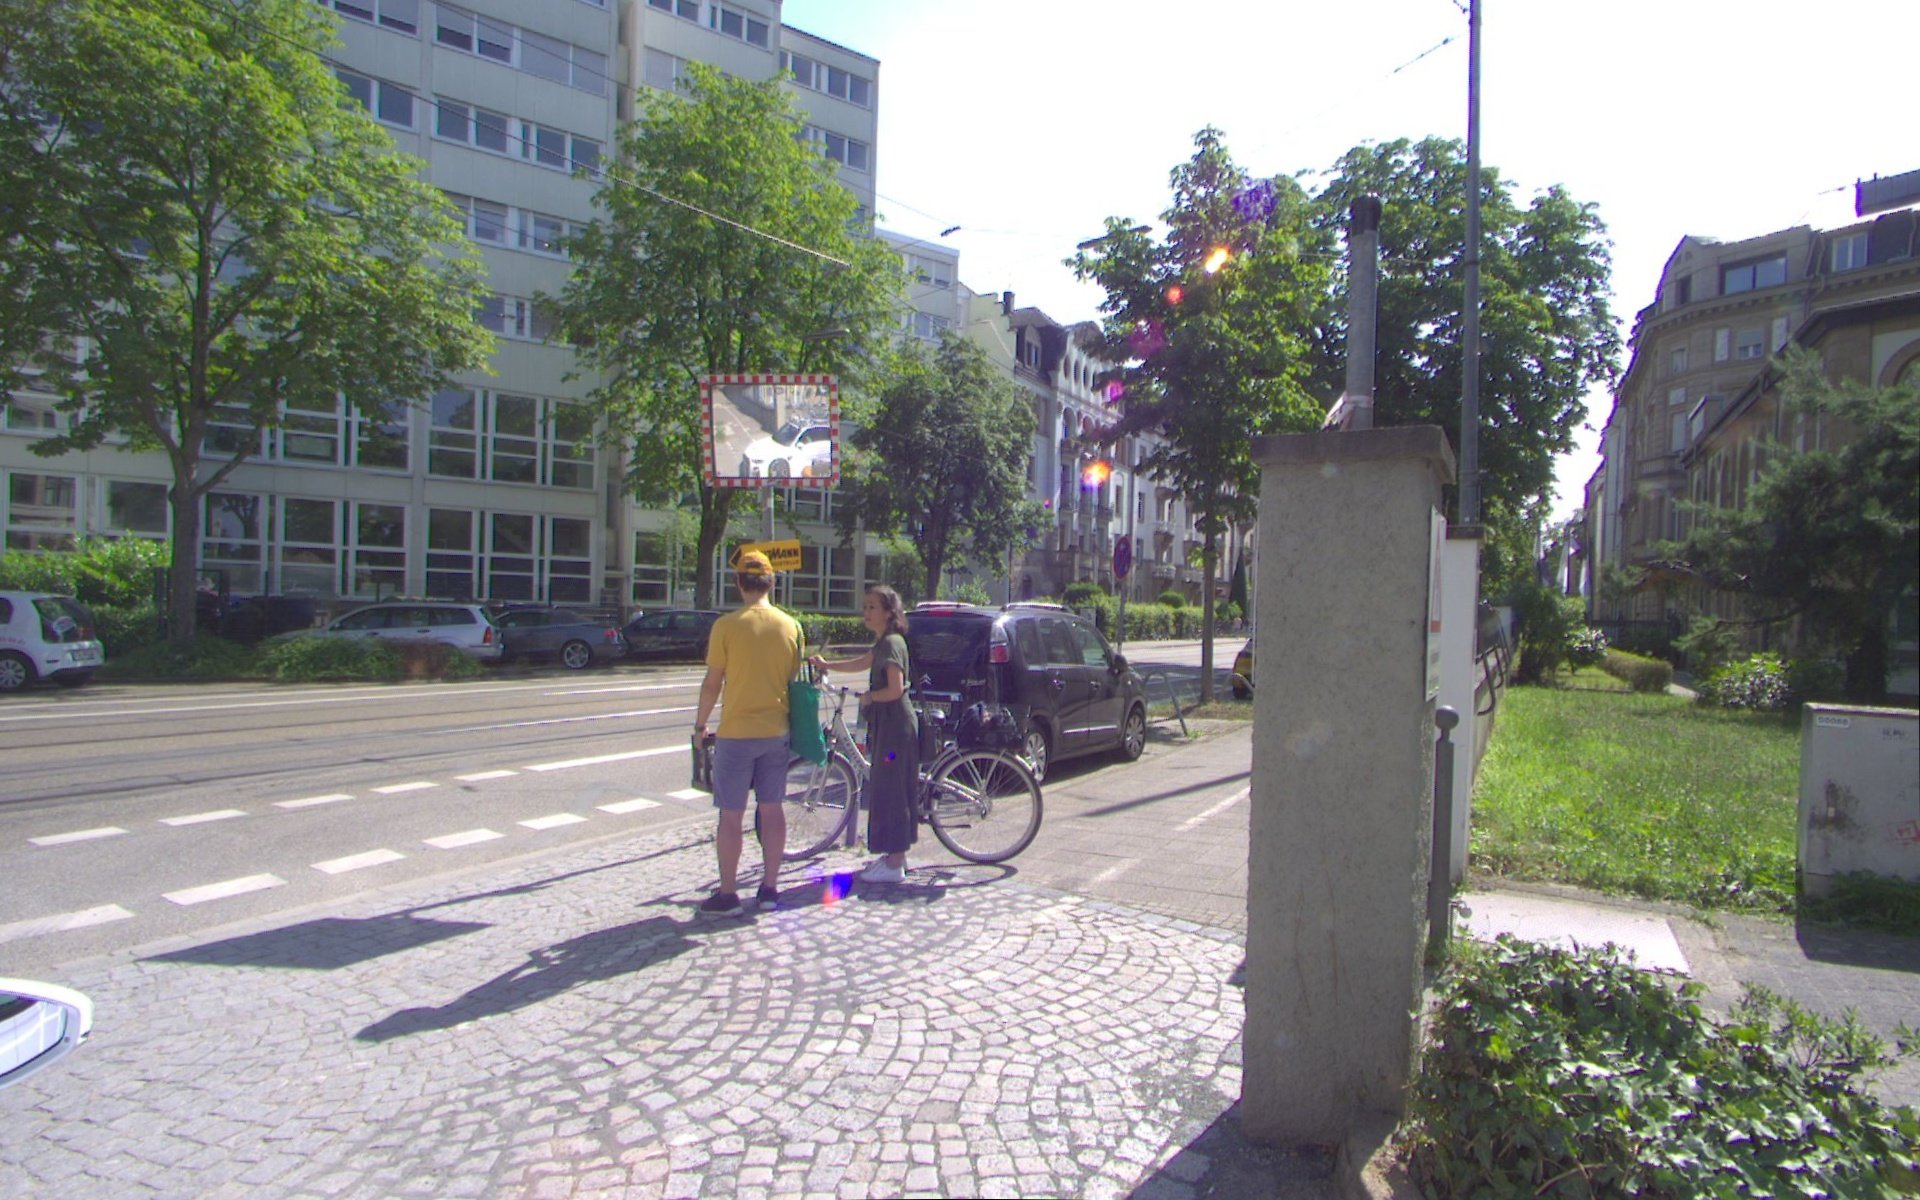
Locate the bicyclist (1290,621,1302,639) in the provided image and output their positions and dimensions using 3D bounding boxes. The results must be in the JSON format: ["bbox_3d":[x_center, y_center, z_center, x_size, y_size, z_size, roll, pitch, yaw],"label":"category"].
[{"bbox_3d":[30.891,2.767,92.062,0.793,1.563,0.860,2,0,33],"label":"bicyclist"}]

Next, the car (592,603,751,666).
[{"bbox_3d":[-7.564,0.907,26.444,3.875,1.505,1.556,2,0,-16],"label":"car"}]

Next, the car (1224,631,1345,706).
[{"bbox_3d":[7.219,1.422,22.024,1.828,1.430,3.985,1,-1,28],"label":"car"}]

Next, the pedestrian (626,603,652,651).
[{"bbox_3d":[-10.087,0.854,31.476,0.417,1.480,0.620,2,0,27],"label":"pedestrian"}]

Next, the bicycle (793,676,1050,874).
[{"bbox_3d":[-0.230,1.027,6.066,1.484,1.055,0.363,1,0,12],"label":"bicycle"}]

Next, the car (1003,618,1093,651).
[{"bbox_3d":[4.320,1.691,49.195,3.929,1.527,1.997,2,-1,-16],"label":"car"}]

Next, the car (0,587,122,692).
[{"bbox_3d":[-15.163,0.550,14.840,3.874,1.505,1.611,1,0,-15],"label":"car"}]

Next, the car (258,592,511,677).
[{"bbox_3d":[-11.741,0.736,20.739,4.270,1.625,1.555,2,-1,-19],"label":"car"}]

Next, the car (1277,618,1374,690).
[{"bbox_3d":[9.703,1.377,26.394,1.828,1.701,3.985,1,-1,28],"label":"car"}]

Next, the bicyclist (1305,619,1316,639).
[{"bbox_3d":[32.108,2.686,91.682,0.793,1.824,0.860,1,0,33],"label":"bicyclist"}]

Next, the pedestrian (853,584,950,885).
[{"bbox_3d":[-0.330,0.745,5.734,0.445,1.642,0.422,-1,-1,12],"label":"pedestrian"}]

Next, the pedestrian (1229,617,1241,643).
[{"bbox_3d":[21.045,2.303,76.590,0.680,1.958,0.785,1,0,28],"label":"pedestrian"}]

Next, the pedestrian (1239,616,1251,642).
[{"bbox_3d":[21.726,2.192,76.338,0.680,1.958,0.785,1,0,28],"label":"pedestrian"}]

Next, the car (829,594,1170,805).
[{"bbox_3d":[0.616,0.869,10.391,1.829,1.706,3.981,1,-1,31],"label":"car"}]

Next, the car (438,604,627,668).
[{"bbox_3d":[-9.892,0.838,23.453,3.875,1.375,1.556,2,-1,-16],"label":"car"}]

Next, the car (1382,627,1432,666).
[{"bbox_3d":[20.836,2.120,46.617,1.828,1.701,3.985,1,-1,28],"label":"car"}]

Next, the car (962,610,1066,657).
[{"bbox_3d":[2.278,1.418,42.536,3.935,1.884,1.994,2,-1,-23],"label":"car"}]

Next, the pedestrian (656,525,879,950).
[{"bbox_3d":[-0.983,0.623,5.023,0.842,1.889,0.825,1,0,-30],"label":"pedestrian"}]
